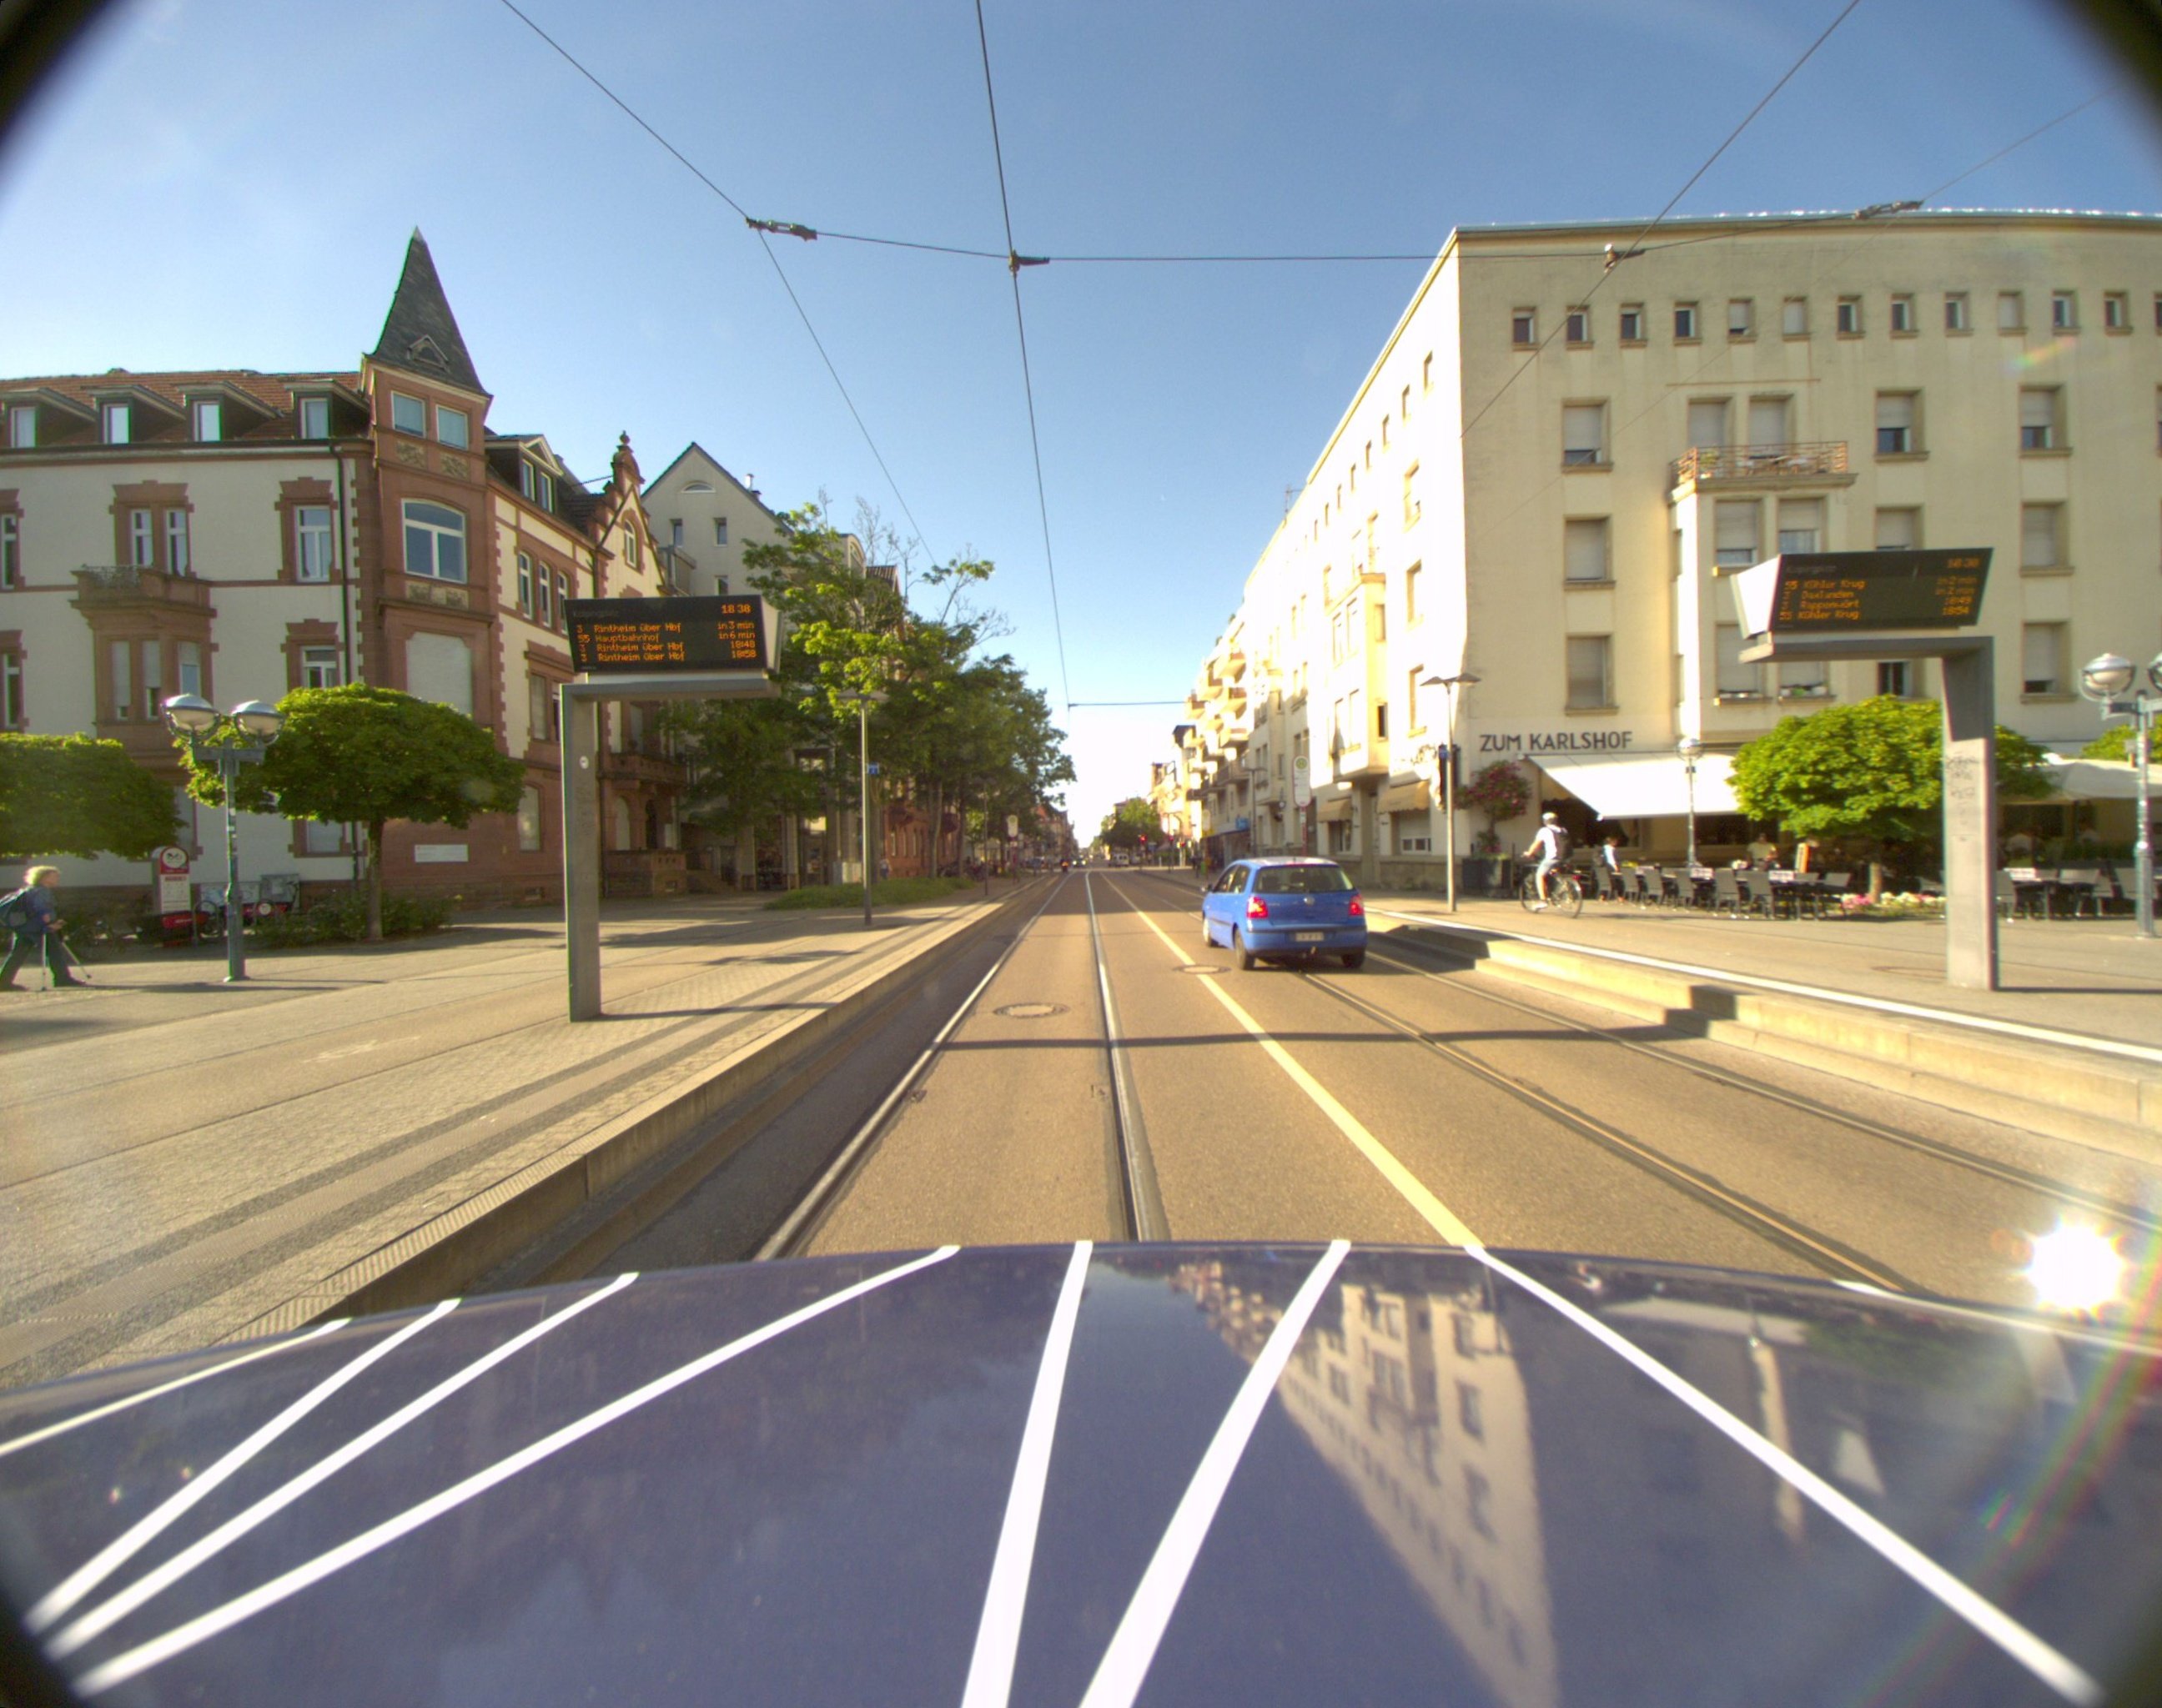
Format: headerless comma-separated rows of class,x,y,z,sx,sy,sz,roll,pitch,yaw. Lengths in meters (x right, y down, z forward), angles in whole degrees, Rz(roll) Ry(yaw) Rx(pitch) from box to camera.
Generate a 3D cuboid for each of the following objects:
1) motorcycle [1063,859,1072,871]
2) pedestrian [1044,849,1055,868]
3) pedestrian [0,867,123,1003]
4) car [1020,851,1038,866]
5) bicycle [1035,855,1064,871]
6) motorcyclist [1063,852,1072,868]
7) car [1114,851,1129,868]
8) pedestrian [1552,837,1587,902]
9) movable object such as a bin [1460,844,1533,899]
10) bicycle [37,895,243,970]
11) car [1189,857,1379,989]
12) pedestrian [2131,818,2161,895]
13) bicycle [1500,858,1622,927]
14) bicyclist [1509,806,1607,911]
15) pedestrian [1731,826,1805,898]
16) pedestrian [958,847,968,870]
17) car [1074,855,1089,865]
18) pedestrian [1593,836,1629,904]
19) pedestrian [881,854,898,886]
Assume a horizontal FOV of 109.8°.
motorcycle,-1.296,0.998,72.618,0.799,1.090,2.429,-1,0,1
pedestrian,-3.540,0.506,85.571,1.022,2.002,1.176,-2,1,-13
pedestrian,-13.645,1.022,9.872,1.070,1.659,0.956,-2,1,-12
car,-7.211,0.638,105.965,1.998,2.002,4.001,-1,0,4
bicycle,-3.542,0.967,85.477,3.109,1.719,1.227,-1,1,-16
motorcyclist,-1.304,0.572,72.524,0.821,1.466,1.114,-1,1,1
car,5.373,0.667,101.331,1.877,2.105,4.000,-2,1,2
pedestrian,12.641,0.414,19.684,0.672,1.634,0.752,-1,-2,27
movable object such as a bin,11.174,0.455,20.477,1.319,1.392,1.128,-1,1,-1
bicycle,-18.167,1.460,14.832,0.790,1.062,2.804,-2,2,-8
car,2.733,0.840,11.133,1.671,1.479,4.000,-2,0,0
pedestrian,25.594,0.057,18.121,0.578,1.813,0.647,-2,1,-36
bicycle,8.569,0.651,13.685,0.714,1.119,2.034,-2,0,-7
bicyclist,8.548,0.072,13.667,1.007,1.783,1.094,-2,1,-8
pedestrian,16.006,0.181,17.722,1.066,1.635,0.756,-1,1,-4
pedestrian,-10.056,0.375,64.789,0.653,2.002,0.559,-1,1,3
car,0.125,0.857,107.874,1.998,1.318,3.863,-1,0,1
pedestrian,12.924,0.400,18.525,0.672,1.634,0.678,-2,-3,35
pedestrian,-10.667,0.874,42.313,0.742,1.725,0.877,-2,1,-6
